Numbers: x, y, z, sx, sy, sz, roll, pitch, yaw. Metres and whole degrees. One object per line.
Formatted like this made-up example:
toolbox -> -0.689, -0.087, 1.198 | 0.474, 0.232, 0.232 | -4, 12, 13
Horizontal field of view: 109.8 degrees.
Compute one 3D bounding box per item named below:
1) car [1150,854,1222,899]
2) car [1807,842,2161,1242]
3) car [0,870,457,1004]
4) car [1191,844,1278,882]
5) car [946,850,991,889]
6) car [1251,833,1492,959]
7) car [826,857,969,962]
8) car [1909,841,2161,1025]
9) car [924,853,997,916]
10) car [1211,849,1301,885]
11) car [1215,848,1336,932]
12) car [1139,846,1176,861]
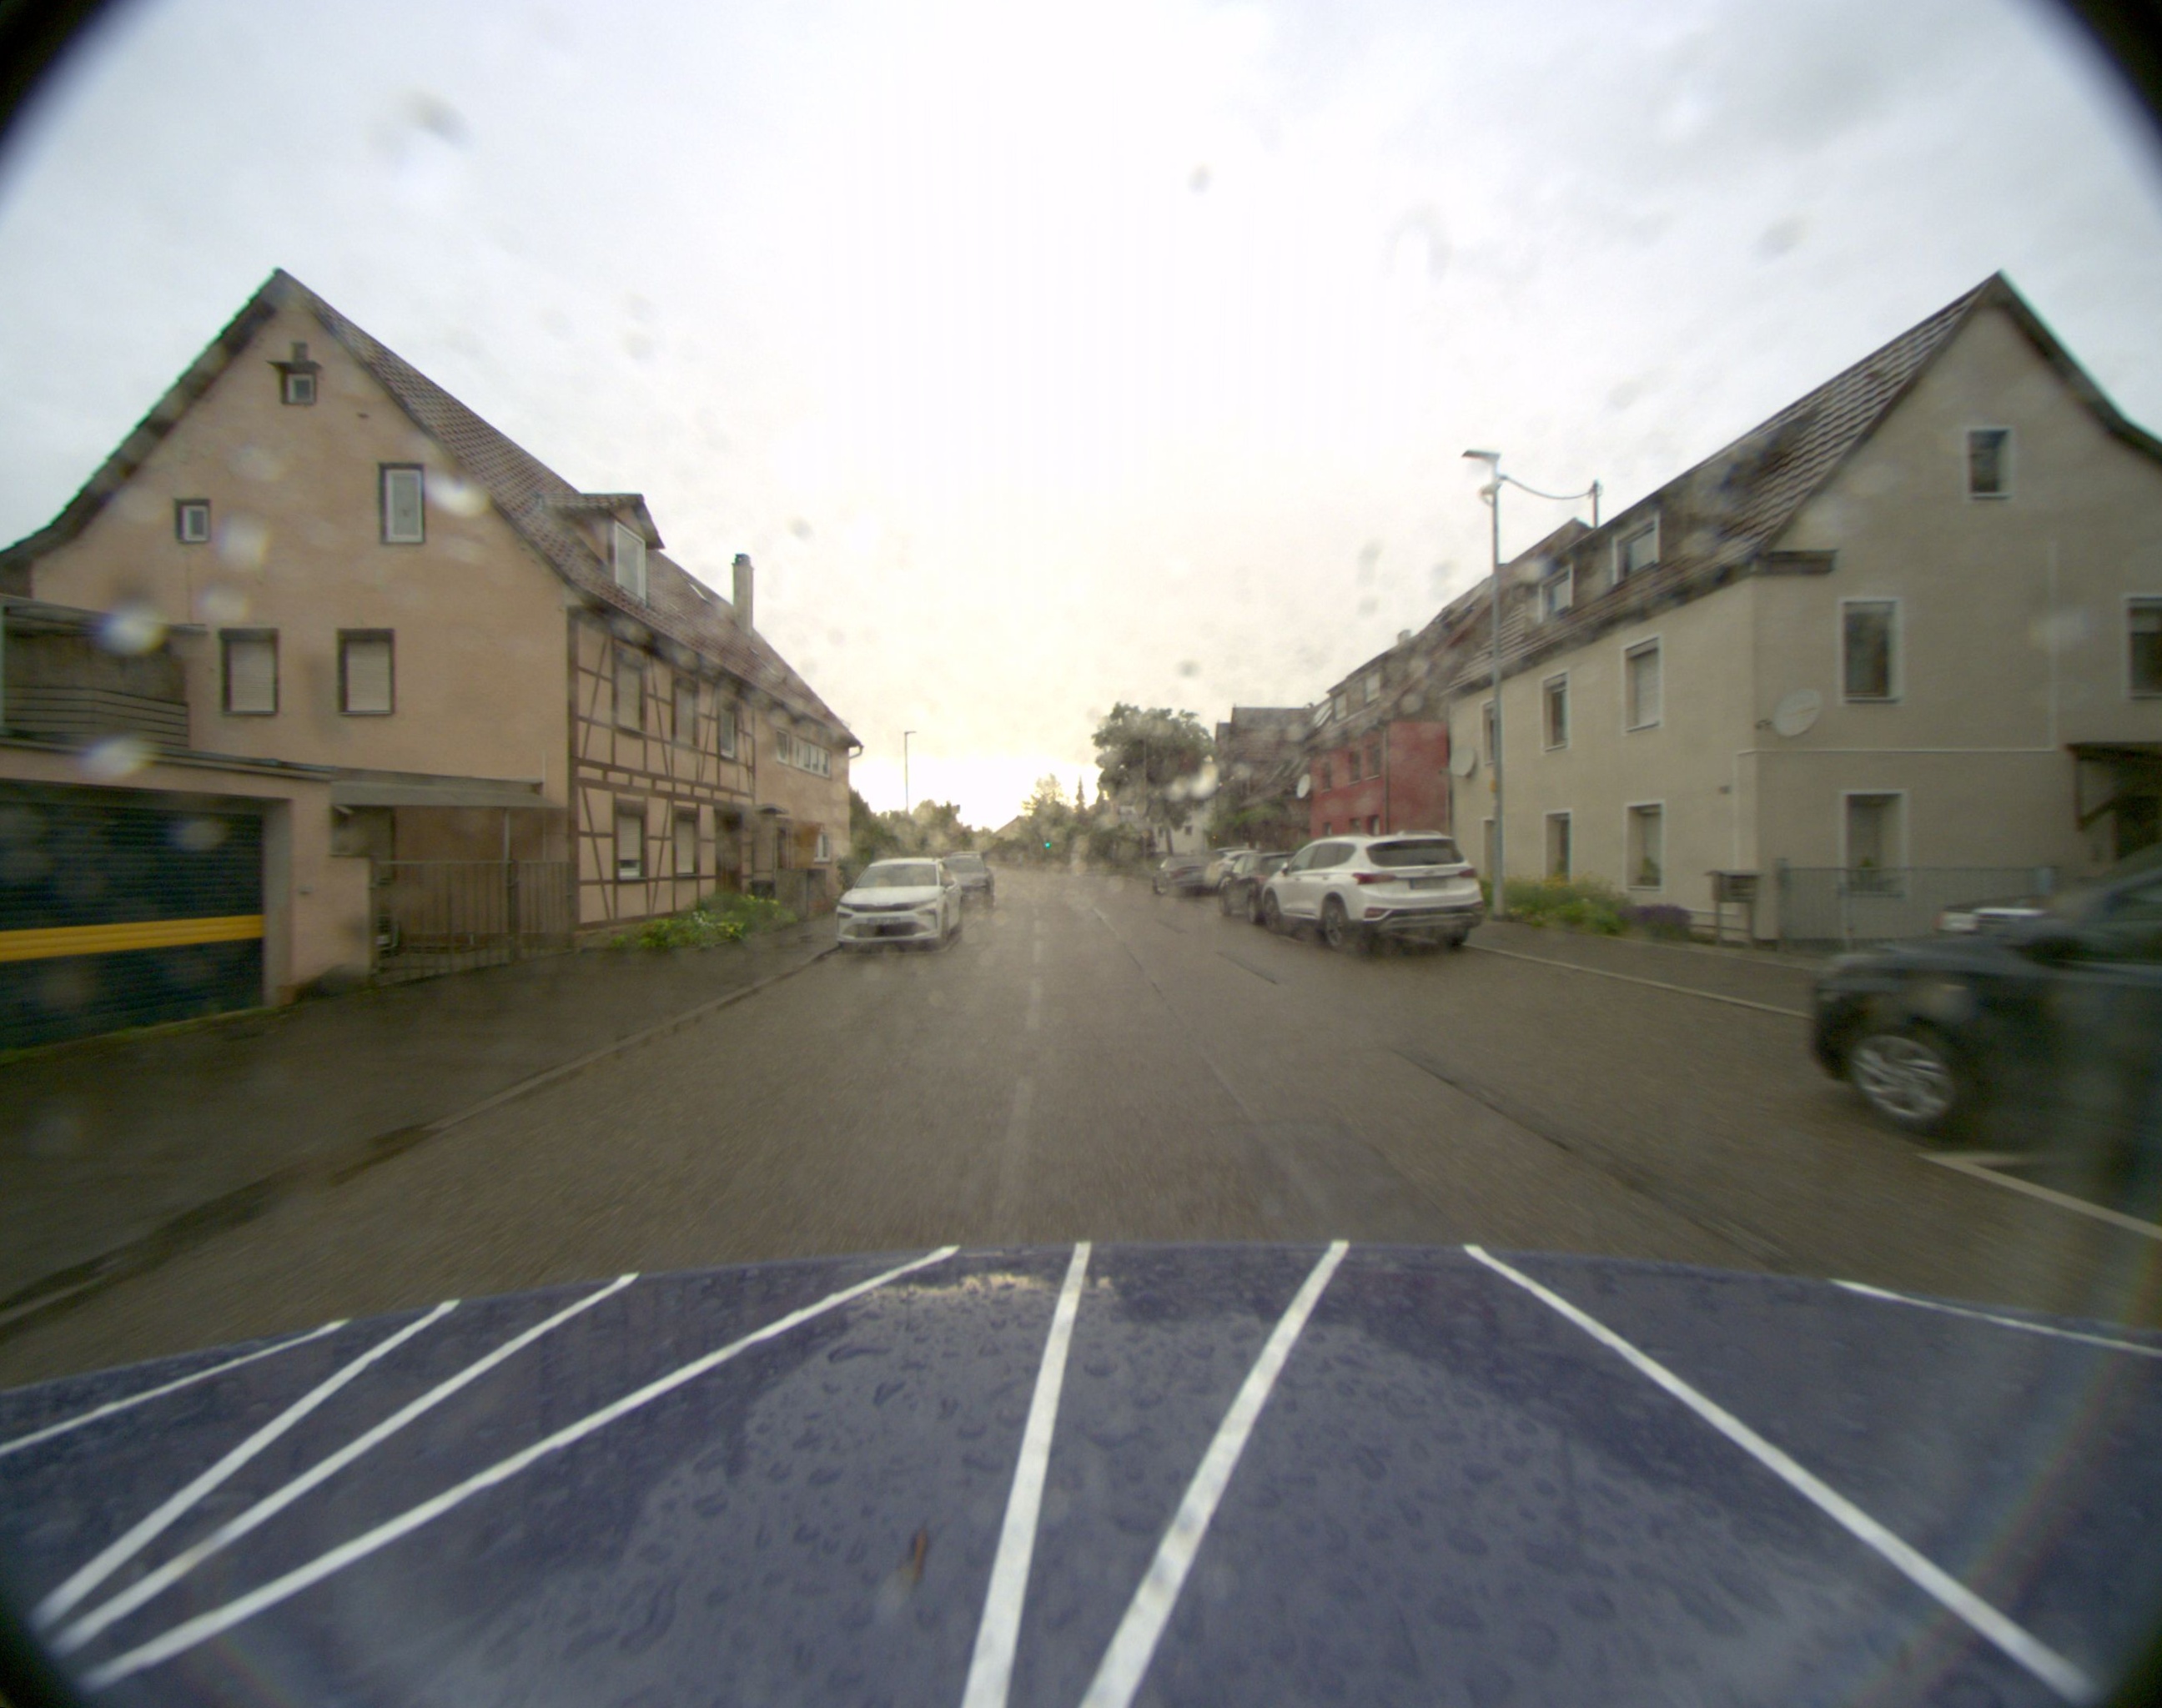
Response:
car -> 3.603, 0.728, 26.831 | 1.631, 1.348, 4.108 | -3, 1, -4
car -> 4.856, 0.706, 2.419 | 1.583, 1.488, 3.566 | -1, 1, -3
car -> -10.560, 0.961, 9.558 | 3.925, 1.449, 1.807 | 0, 1, 1
car -> 7.013, 0.391, 35.020 | 3.584, 1.497, 1.855 | -3, 1, 1
car -> -6.052, 0.758, 40.453 | 1.937, 1.891, 4.787 | -3, 1, -13
car -> 4.321, 0.526, 12.222 | 1.769, 1.610, 4.653 | -1, 1, -5
car -> -3.353, 0.922, 14.790 | 1.807, 1.586, 4.609 | -2, 1, -3
car -> 10.242, 0.580, 6.499 | 4.181, 1.395, 1.789 | 0, 1, 4
car -> -3.796, 0.899, 24.570 | 1.914, 1.707, 4.553 | -3, 1, -5
car -> 7.425, 0.541, 32.413 | 3.470, 1.470, 1.590 | -1, 1, -1
car -> 4.087, 0.689, 16.454 | 1.610, 1.608, 3.275 | -1, 1, -4
car -> 7.395, -0.070, 73.728 | 1.780, 1.413, 3.618 | -1, 1, -27
